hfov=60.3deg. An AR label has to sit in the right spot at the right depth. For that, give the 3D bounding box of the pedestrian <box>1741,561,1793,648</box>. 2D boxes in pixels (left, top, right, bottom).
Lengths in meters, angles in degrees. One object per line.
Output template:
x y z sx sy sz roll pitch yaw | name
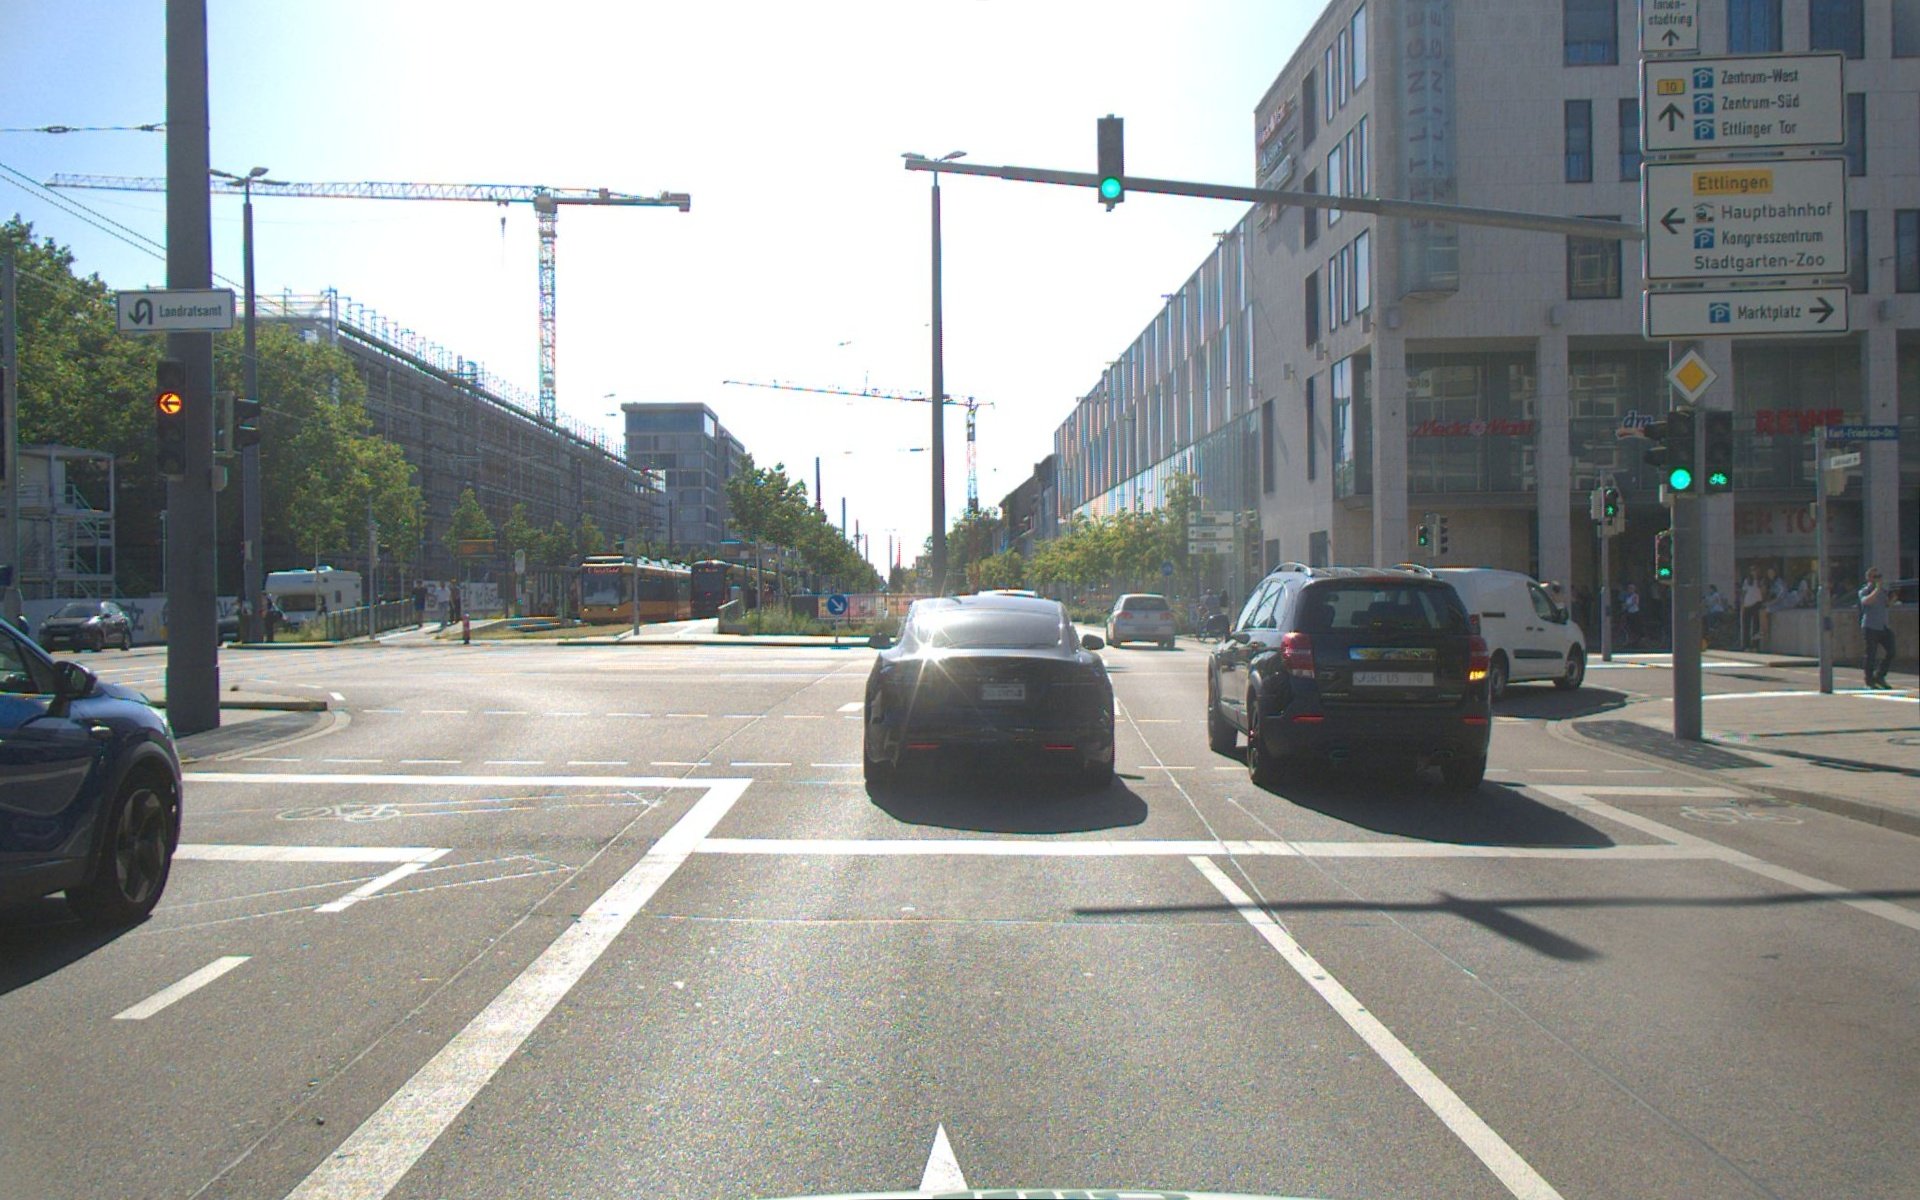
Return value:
15.615 0.080 32.014 0.648 1.640 0.526 -3 0 -10 | pedestrian

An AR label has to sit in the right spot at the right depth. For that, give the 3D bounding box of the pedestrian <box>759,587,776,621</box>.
-9.467 0.176 81.524 0.726 1.657 0.861 -1 0 -1 | pedestrian

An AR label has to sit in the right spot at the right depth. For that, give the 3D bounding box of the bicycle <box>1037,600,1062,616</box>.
7.069 0.654 130.882 1.848 1.171 0.669 -2 0 -12 | bicycle

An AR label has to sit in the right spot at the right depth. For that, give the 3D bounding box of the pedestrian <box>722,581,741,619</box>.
-11.150 -0.016 80.766 0.857 1.806 1.188 1 1 -5 | pedestrian

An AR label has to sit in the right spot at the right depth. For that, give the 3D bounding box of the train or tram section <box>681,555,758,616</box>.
-14.396 -0.844 100.166 2.812 3.337 15.179 1 0 -2 | train or tram section

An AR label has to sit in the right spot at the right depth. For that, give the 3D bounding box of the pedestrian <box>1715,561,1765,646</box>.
15.385 0.072 32.626 0.648 1.640 0.526 -3 0 -10 | pedestrian

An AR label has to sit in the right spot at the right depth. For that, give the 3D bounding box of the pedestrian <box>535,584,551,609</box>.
-20.775 -0.174 82.432 0.658 1.248 0.505 1 -1 -4 | pedestrian

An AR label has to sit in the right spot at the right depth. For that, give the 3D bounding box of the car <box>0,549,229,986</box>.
-4.404 0.607 6.013 1.734 1.616 4.087 1 0 -2 | car

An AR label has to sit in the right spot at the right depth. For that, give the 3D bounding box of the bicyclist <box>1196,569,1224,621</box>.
8.656 -0.177 57.368 0.710 1.767 0.996 -1 0 -5 | bicyclist

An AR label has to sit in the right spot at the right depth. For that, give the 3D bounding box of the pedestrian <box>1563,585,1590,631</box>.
22.158 0.272 59.448 0.551 1.636 0.740 -2 1 -38 | pedestrian

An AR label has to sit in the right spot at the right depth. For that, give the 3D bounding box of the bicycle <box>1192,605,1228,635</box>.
8.666 0.679 57.365 0.714 1.001 2.331 0 0 -5 | bicycle

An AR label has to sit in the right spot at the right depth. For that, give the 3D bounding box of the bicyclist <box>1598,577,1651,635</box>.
17.770 0.158 44.231 1.000 1.502 1.072 -1 0 2 | bicyclist

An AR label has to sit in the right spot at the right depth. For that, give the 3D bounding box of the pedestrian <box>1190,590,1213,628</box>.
10.886 0.398 74.544 0.805 1.687 0.899 0 0 -6 | pedestrian

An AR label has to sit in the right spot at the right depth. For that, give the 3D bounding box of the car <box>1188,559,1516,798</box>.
3.161 0.551 14.249 1.748 1.729 4.412 0 0 0 | car

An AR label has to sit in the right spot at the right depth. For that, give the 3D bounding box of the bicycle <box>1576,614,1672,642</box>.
17.740 0.739 44.219 2.147 0.683 1.072 -1 0 2 | bicycle

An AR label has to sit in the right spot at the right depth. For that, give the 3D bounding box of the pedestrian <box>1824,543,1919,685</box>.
13.604 0.191 24.521 0.930 2.049 1.076 0 0 -13 | pedestrian

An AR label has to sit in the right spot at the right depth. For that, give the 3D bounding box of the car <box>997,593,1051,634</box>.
2.185 0.442 57.326 1.681 1.343 3.999 0 0 -1 | car

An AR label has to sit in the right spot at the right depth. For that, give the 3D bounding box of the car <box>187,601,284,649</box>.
-27.448 0.917 62.799 1.907 1.737 4.365 -1 0 -3 | car

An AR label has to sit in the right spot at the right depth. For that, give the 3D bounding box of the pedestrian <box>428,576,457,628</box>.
-18.861 0.060 60.333 0.784 1.855 0.975 -1 0 -4 | pedestrian

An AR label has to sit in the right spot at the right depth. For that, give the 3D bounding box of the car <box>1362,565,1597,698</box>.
7.645 0.402 24.143 1.758 1.764 4.139 0 0 41 | car

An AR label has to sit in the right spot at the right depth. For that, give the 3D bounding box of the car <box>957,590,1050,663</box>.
0.806 0.489 32.828 1.681 1.343 3.999 0 0 -1 | car

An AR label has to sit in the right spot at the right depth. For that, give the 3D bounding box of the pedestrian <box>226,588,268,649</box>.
-22.260 0.575 51.641 0.785 1.855 0.880 -1 0 31 | pedestrian

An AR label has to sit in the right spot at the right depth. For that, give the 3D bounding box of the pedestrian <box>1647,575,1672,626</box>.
25.269 0.016 59.780 0.551 1.793 0.641 -2 1 -38 | pedestrian

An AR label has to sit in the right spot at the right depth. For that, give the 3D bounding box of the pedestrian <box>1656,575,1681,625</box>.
25.790 -0.005 60.229 0.551 1.793 0.641 -2 1 -38 | pedestrian

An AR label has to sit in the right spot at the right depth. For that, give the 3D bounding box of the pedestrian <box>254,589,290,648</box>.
-22.097 0.593 53.132 0.784 1.855 0.975 -1 0 -4 | pedestrian

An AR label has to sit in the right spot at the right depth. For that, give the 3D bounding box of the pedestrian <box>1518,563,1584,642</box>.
14.212 0.060 39.804 0.947 1.833 1.522 -3 0 -2 | pedestrian

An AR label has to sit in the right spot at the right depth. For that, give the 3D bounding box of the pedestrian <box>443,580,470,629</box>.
-19.548 0.161 64.193 0.784 1.855 0.975 -1 0 -4 | pedestrian

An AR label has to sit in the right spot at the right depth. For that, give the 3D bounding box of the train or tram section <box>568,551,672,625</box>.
-16.862 -0.565 83.026 2.812 3.367 13.068 1 0 -2 | train or tram section

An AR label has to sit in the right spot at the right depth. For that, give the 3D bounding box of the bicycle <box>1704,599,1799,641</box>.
22.511 0.545 47.137 1.044 1.113 3.497 -1 0 0 | bicycle

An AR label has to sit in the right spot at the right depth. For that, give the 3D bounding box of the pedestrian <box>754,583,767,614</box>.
-12.078 -0.082 100.267 0.658 1.842 1.074 -1 0 -2 | pedestrian

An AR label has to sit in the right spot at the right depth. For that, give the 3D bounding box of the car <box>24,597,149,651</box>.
-30.001 0.794 56.980 1.953 1.737 4.559 -1 0 -1 | car

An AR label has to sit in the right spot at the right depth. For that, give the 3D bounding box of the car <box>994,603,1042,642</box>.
2.268 0.867 65.606 1.681 1.457 3.999 0 0 -1 | car

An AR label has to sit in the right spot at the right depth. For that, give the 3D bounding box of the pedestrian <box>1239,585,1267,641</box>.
9.338 0.413 52.709 0.644 1.732 0.697 -3 0 -3 | pedestrian

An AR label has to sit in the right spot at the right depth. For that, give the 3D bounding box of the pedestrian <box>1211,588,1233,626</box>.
11.773 0.303 74.428 0.693 1.687 0.899 -3 0 -6 | pedestrian

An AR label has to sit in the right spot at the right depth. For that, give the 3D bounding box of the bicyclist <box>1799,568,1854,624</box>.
23.103 -0.112 44.116 0.913 1.458 1.041 -1 0 2 | bicyclist

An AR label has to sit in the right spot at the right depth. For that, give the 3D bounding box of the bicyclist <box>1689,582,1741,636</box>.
20.152 0.232 44.149 0.913 1.420 1.077 -1 0 2 | bicyclist

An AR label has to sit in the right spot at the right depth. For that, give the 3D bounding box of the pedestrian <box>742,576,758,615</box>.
-9.880 -0.229 77.805 0.689 1.806 0.958 1 1 -5 | pedestrian

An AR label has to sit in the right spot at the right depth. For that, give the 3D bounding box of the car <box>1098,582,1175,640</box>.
4.995 0.293 47.202 1.748 1.573 4.038 0 0 0 | car

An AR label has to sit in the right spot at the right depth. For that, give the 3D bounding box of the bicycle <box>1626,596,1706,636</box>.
20.221 0.444 47.467 1.044 1.113 2.991 -1 0 0 | bicycle

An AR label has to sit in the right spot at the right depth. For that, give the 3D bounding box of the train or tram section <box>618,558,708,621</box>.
-17.292 -0.621 97.542 2.790 3.379 15.961 1 0 -2 | train or tram section

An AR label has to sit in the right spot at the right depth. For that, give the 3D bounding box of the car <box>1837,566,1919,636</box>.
23.843 0.009 40.138 4.099 1.641 1.861 -1 -2 1 | car

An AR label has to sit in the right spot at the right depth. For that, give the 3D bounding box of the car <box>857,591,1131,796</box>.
0.229 0.665 14.028 1.958 1.459 4.412 0 0 0 | car

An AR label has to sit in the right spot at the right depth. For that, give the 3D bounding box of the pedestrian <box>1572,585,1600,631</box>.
22.663 0.282 59.866 0.551 1.636 0.740 -2 1 -38 | pedestrian

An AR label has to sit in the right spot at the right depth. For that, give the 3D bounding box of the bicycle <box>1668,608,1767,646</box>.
20.197 0.703 44.153 2.147 0.960 1.072 -1 0 2 | bicycle

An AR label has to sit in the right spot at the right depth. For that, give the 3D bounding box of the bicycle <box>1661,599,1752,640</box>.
21.370 0.537 47.471 1.044 1.113 3.497 -1 0 0 | bicycle

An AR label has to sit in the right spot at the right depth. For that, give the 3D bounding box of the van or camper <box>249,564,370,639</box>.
-27.755 0.050 70.867 2.553 2.988 7.338 -1 0 -3 | van or camper

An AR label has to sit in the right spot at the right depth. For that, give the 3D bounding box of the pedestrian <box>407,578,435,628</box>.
-20.247 0.096 62.136 0.784 1.855 0.975 -1 0 -4 | pedestrian
